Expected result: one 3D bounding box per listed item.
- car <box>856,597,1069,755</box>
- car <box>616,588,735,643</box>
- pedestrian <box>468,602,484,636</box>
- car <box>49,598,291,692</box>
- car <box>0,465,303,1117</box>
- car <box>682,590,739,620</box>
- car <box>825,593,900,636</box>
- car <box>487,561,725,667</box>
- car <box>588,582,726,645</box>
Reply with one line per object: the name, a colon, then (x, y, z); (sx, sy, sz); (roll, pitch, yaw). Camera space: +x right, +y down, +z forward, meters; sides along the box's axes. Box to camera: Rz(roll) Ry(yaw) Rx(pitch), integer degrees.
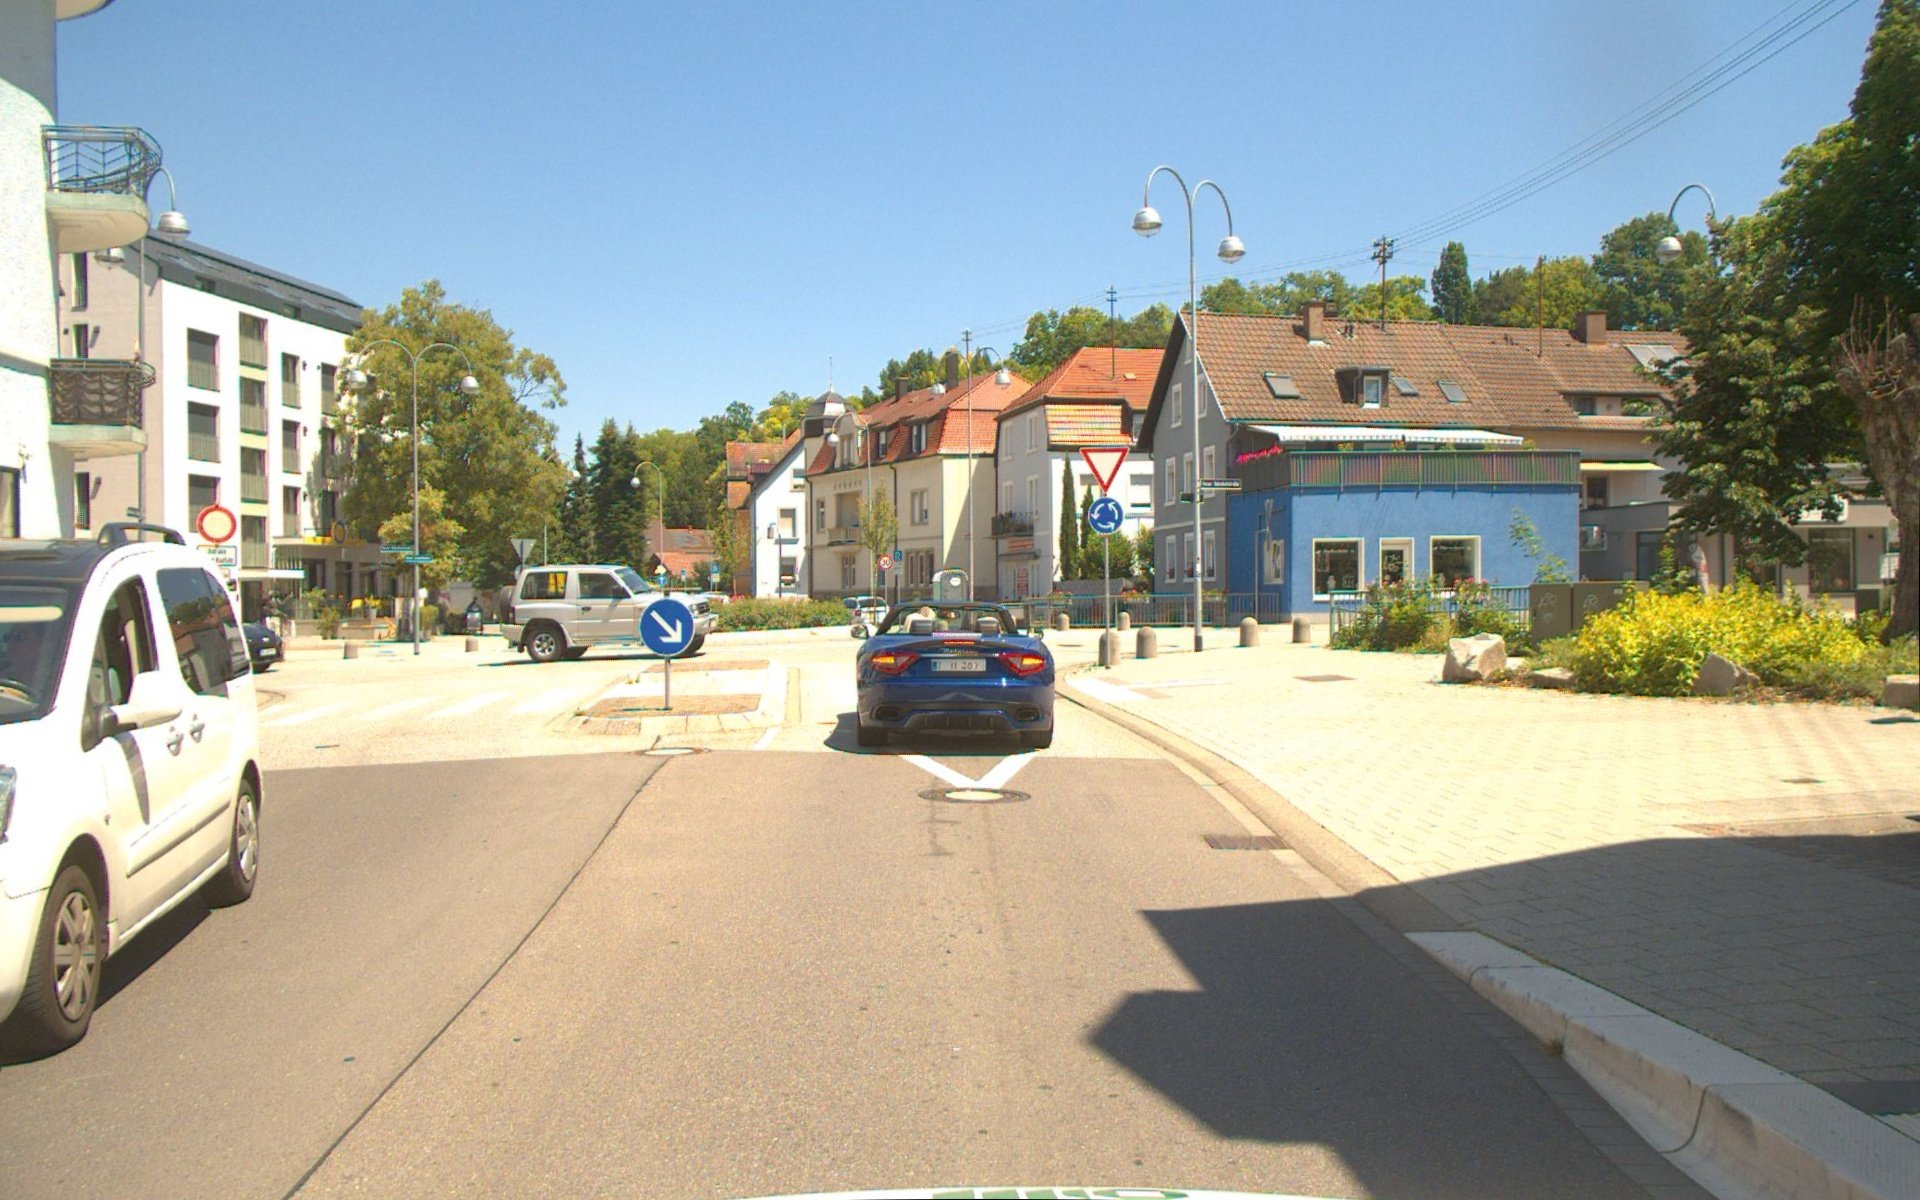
car: (-0.006, 0.665, 16.726); (1.872, 1.384, 4.284); (0, 0, -1)
car: (-8.445, 0.442, 49.119); (3.397, 1.476, 1.576); (-2, 0, -11)
pedestrian: (-23.062, 0.894, 78.831); (0.523, 1.603, 0.563); (-1, 0, 8)
car: (-16.258, 0.914, 34.122); (4.158, 1.573, 1.813); (-4, 1, 11)
car: (-4.104, 0.573, 6.538); (1.958, 1.854, 4.403); (-2, 0, -11)
car: (-14.450, 0.317, 95.564); (1.833, 1.616, 3.956); (-2, 0, -32)
car: (-4.065, 0.620, 68.653); (1.892, 1.641, 4.120); (-2, -1, -22)
car: (-6.807, 0.275, 32.067); (4.127, 1.908, 1.764); (-1, 0, 5)
car: (-7.206, 0.327, 38.989); (1.972, 1.353, 4.160); (-2, 0, -29)
